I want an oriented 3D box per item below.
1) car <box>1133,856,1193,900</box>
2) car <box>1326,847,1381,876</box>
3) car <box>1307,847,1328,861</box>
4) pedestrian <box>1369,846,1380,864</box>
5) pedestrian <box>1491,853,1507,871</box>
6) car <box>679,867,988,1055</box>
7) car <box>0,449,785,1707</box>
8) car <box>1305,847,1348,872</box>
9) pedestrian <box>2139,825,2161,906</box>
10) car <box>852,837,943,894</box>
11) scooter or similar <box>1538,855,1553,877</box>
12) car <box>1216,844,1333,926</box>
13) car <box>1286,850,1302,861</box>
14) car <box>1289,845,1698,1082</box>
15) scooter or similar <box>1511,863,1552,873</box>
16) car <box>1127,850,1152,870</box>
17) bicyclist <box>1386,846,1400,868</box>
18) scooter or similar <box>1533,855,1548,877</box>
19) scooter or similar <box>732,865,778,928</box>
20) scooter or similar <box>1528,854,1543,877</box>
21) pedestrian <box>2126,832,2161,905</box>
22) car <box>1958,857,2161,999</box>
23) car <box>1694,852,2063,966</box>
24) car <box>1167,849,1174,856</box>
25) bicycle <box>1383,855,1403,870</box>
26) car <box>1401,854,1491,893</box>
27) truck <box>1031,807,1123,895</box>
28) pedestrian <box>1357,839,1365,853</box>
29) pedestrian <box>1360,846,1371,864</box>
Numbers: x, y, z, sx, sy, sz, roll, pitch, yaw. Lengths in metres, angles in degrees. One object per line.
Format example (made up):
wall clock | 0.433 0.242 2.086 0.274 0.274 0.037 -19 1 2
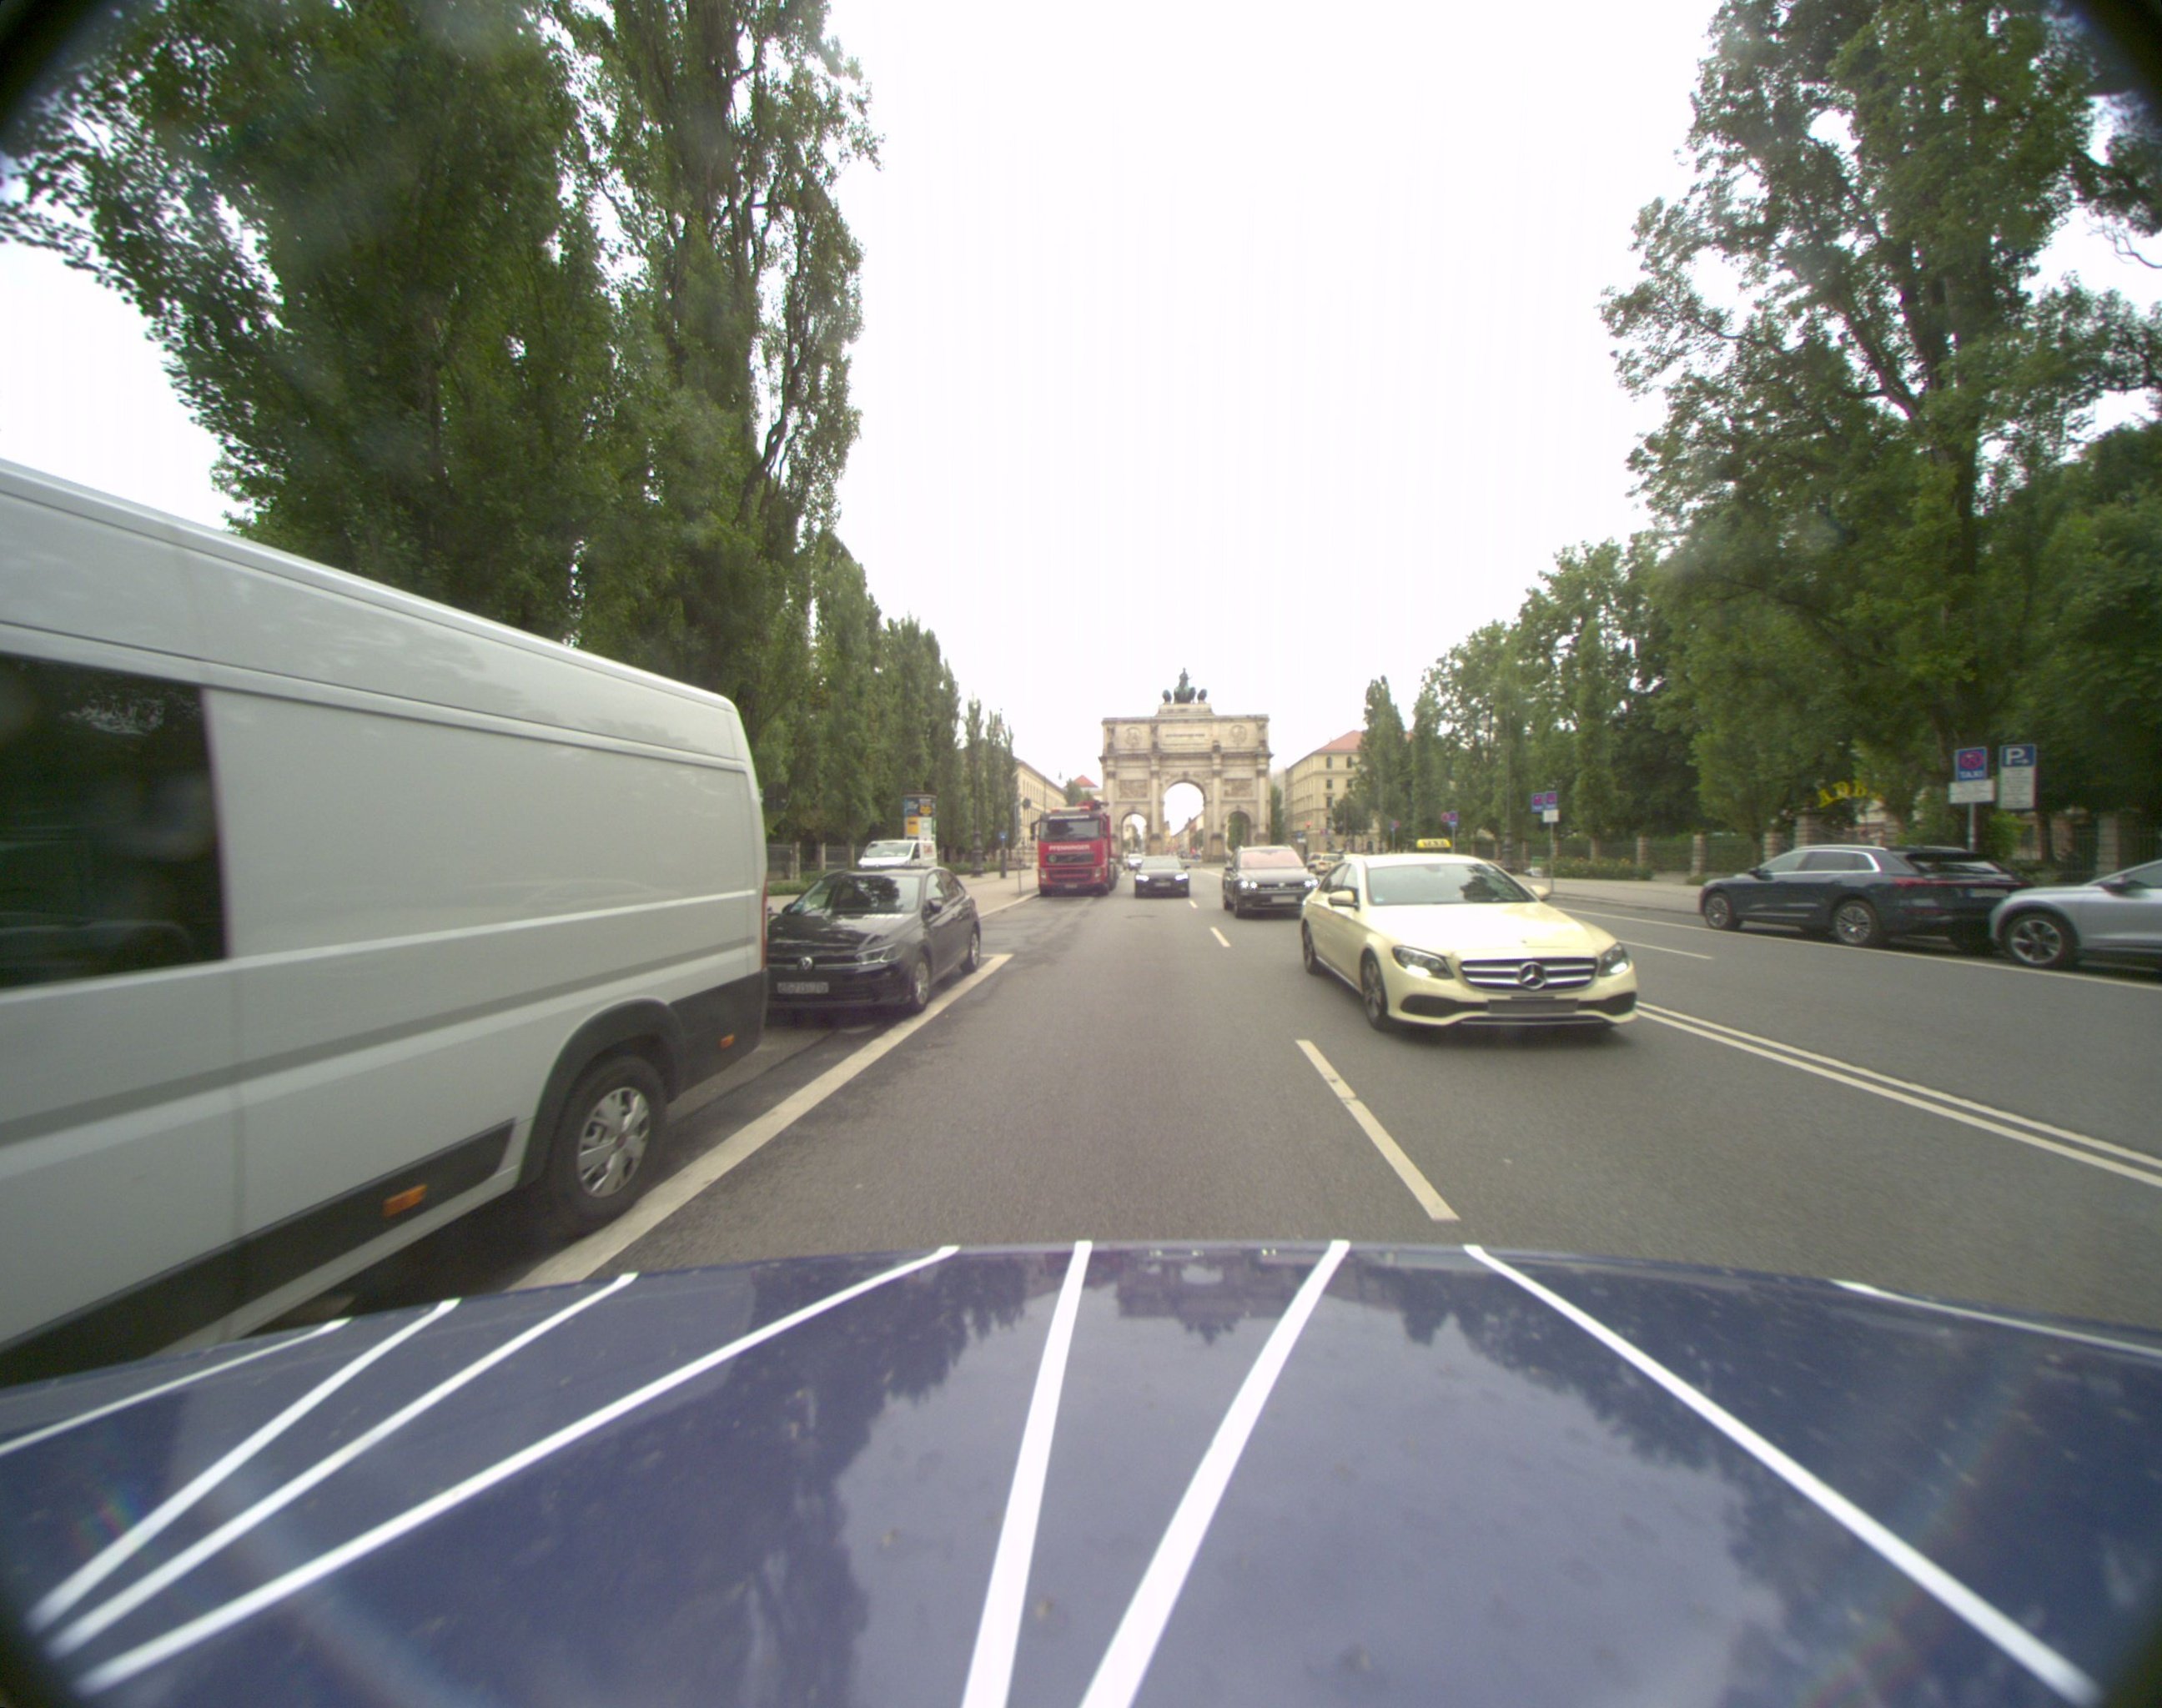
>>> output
car | 2.853 0.784 27.256 1.922 1.320 4.412 -2 1 4
car | 16.564 0.431 46.431 1.941 1.615 4.966 0 1 5
car | 34.286 -0.023 110.171 2.003 1.844 4.992 1 1 7
pedestrian | 28.433 0.094 73.501 0.846 1.668 0.967 0 1 12
pedestrian | 29.878 0.567 54.272 0.578 1.329 0.839 -1 1 -21
car | -2.353 0.952 8.438 1.758 1.441 4.001 -3 0 5
car | -3.109 0.477 1.437 2.079 2.464 6.286 -2 0 5
car | 17.091 0.350 53.124 1.822 1.550 4.860 1 1 5
pedestrian | 22.339 0.231 15.466 0.619 1.650 0.704 -1 1 6
car | -6.849 0.387 28.905 1.884 1.933 4.886 -2 0 4
scooter or similar | 25.723 0.678 42.096 0.243 1.194 1.123 0 1 6
car | 4.382 0.621 17.860 1.952 1.615 4.413 -2 1 5
car | 30.715 0.193 109.716 1.784 1.662 4.003 0 0 10
car | 3.419 0.741 7.508 1.918 1.566 4.691 -2 1 7
scooter or similar | 27.227 0.841 45.942 2.241 0.515 1.329 0 0 -35
car | 5.577 0.546 72.929 1.890 1.846 4.311 -1 0 -2
bicyclist | 21.422 0.179 52.195 0.695 1.489 0.862 0 1 4
scooter or similar | 25.461 0.683 42.125 0.243 1.194 1.123 0 1 6
scooter or similar | -6.828 0.864 15.951 0.337 1.258 1.186 0 1 6
scooter or similar | 25.190 0.636 42.153 0.258 1.235 1.141 0 1 6
pedestrian | 23.774 0.314 16.707 0.619 1.587 0.705 -1 1 7
car | 13.139 0.853 8.331 1.894 1.575 4.656 0 0 5
car | 13.266 0.775 13.191 1.786 1.586 4.615 1 0 5
car | 28.012 -0.419 237.259 1.998 2.002 4.396 -1 0 5
bicycle | 21.406 0.577 52.177 0.709 0.933 1.735 -1 0 4
car | 15.156 0.766 31.849 1.935 1.488 4.793 0 0 6
truck | 0.141 -0.127 31.806 2.719 3.092 10.430 0 0 6
pedestrian | 39.946 -1.112 108.285 0.796 2.002 0.754 -1 1 -29
pedestrian | 27.642 0.109 73.934 0.846 1.668 0.967 0 1 12
